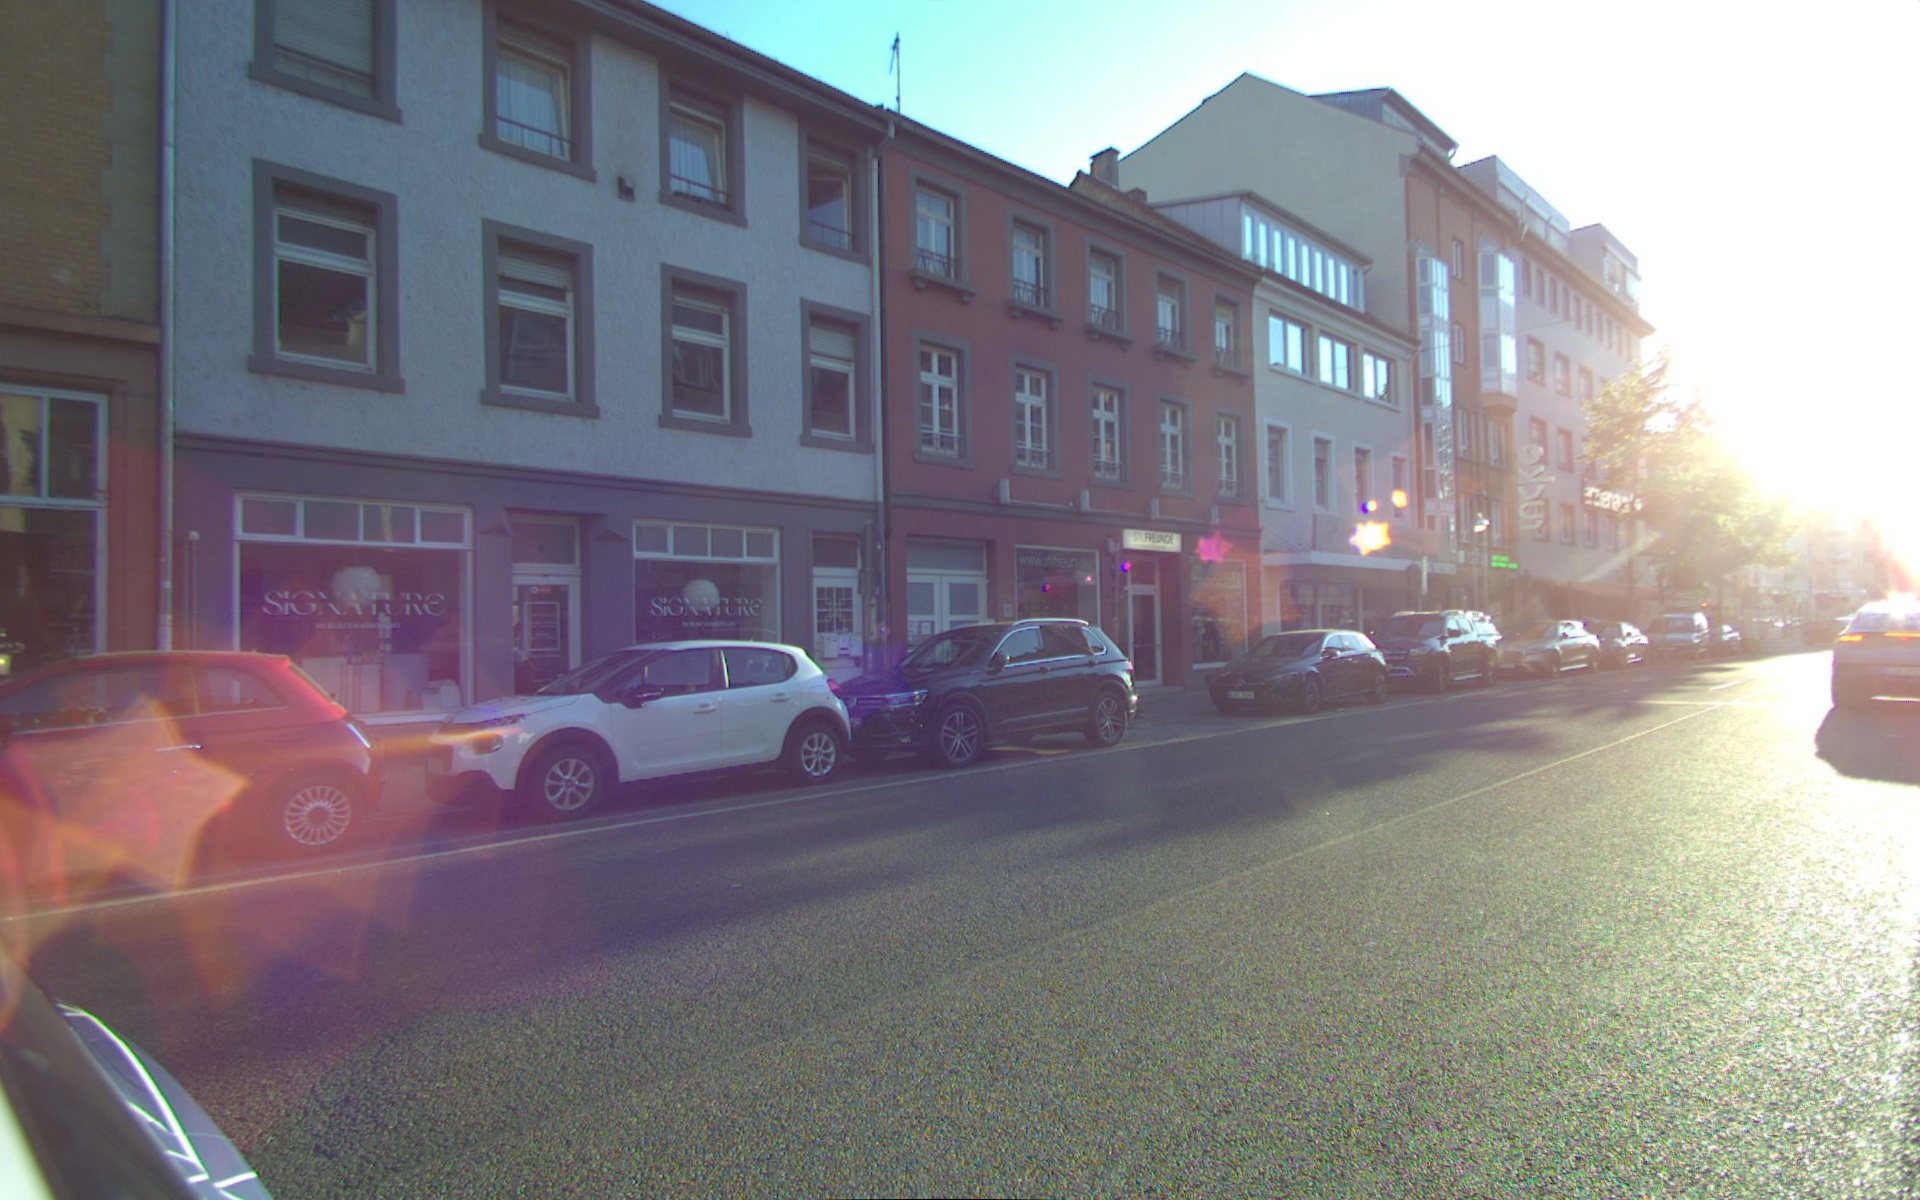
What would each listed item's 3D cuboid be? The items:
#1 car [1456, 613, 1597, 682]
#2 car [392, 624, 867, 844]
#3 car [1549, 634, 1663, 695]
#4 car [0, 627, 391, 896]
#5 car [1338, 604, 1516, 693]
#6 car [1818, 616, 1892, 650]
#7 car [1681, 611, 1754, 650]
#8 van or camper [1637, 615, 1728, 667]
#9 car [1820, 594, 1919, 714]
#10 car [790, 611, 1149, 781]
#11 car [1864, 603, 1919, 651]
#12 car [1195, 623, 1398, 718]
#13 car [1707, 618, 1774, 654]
[{"bbox_3d":[15.306,1.249,27.243,4.558,1.668,2.002,0,-4,-43],"label":"car"},{"bbox_3d":[-2.941,1.082,9.489,3.875,1.585,1.668,0,-4,-43],"label":"car"},{"bbox_3d":[20.009,1.930,31.269,4.414,1.668,2.001,1,-3,-45],"label":"car"},{"bbox_3d":[-5.967,1.026,6.915,3.369,1.582,1.532,1,-4,-43],"label":"car"},{"bbox_3d":[10.700,1.062,22.969,2.000,1.791,5.242,-4,-4,44],"label":"car"},{"bbox_3d":[46.362,1.677,52.521,1.834,1.661,4.262,0,-1,26],"label":"car"},{"bbox_3d":[30.917,1.214,41.268,3.729,1.514,1.697,0,-2,-43],"label":"car"},{"bbox_3d":[26.848,1.477,37.560,4.488,1.787,1.796,0,-2,-43],"label":"van or camper"},{"bbox_3d":[15.159,0.778,15.955,4.255,1.710,1.881,1,-1,-42],"label":"car"},{"bbox_3d":[0.273,1.055,12.446,4.394,1.711,1.801,1,-5,-45],"label":"car"},{"bbox_3d":[33.876,0.933,36.381,1.845,1.661,4.238,0,-1,44],"label":"car"},{"bbox_3d":[6.294,1.247,18.650,4.346,1.499,1.691,1,-5,-45],"label":"car"},{"bbox_3d":[34.829,1.598,45.127,3.729,1.514,1.697,0,-2,-43],"label":"car"}]
